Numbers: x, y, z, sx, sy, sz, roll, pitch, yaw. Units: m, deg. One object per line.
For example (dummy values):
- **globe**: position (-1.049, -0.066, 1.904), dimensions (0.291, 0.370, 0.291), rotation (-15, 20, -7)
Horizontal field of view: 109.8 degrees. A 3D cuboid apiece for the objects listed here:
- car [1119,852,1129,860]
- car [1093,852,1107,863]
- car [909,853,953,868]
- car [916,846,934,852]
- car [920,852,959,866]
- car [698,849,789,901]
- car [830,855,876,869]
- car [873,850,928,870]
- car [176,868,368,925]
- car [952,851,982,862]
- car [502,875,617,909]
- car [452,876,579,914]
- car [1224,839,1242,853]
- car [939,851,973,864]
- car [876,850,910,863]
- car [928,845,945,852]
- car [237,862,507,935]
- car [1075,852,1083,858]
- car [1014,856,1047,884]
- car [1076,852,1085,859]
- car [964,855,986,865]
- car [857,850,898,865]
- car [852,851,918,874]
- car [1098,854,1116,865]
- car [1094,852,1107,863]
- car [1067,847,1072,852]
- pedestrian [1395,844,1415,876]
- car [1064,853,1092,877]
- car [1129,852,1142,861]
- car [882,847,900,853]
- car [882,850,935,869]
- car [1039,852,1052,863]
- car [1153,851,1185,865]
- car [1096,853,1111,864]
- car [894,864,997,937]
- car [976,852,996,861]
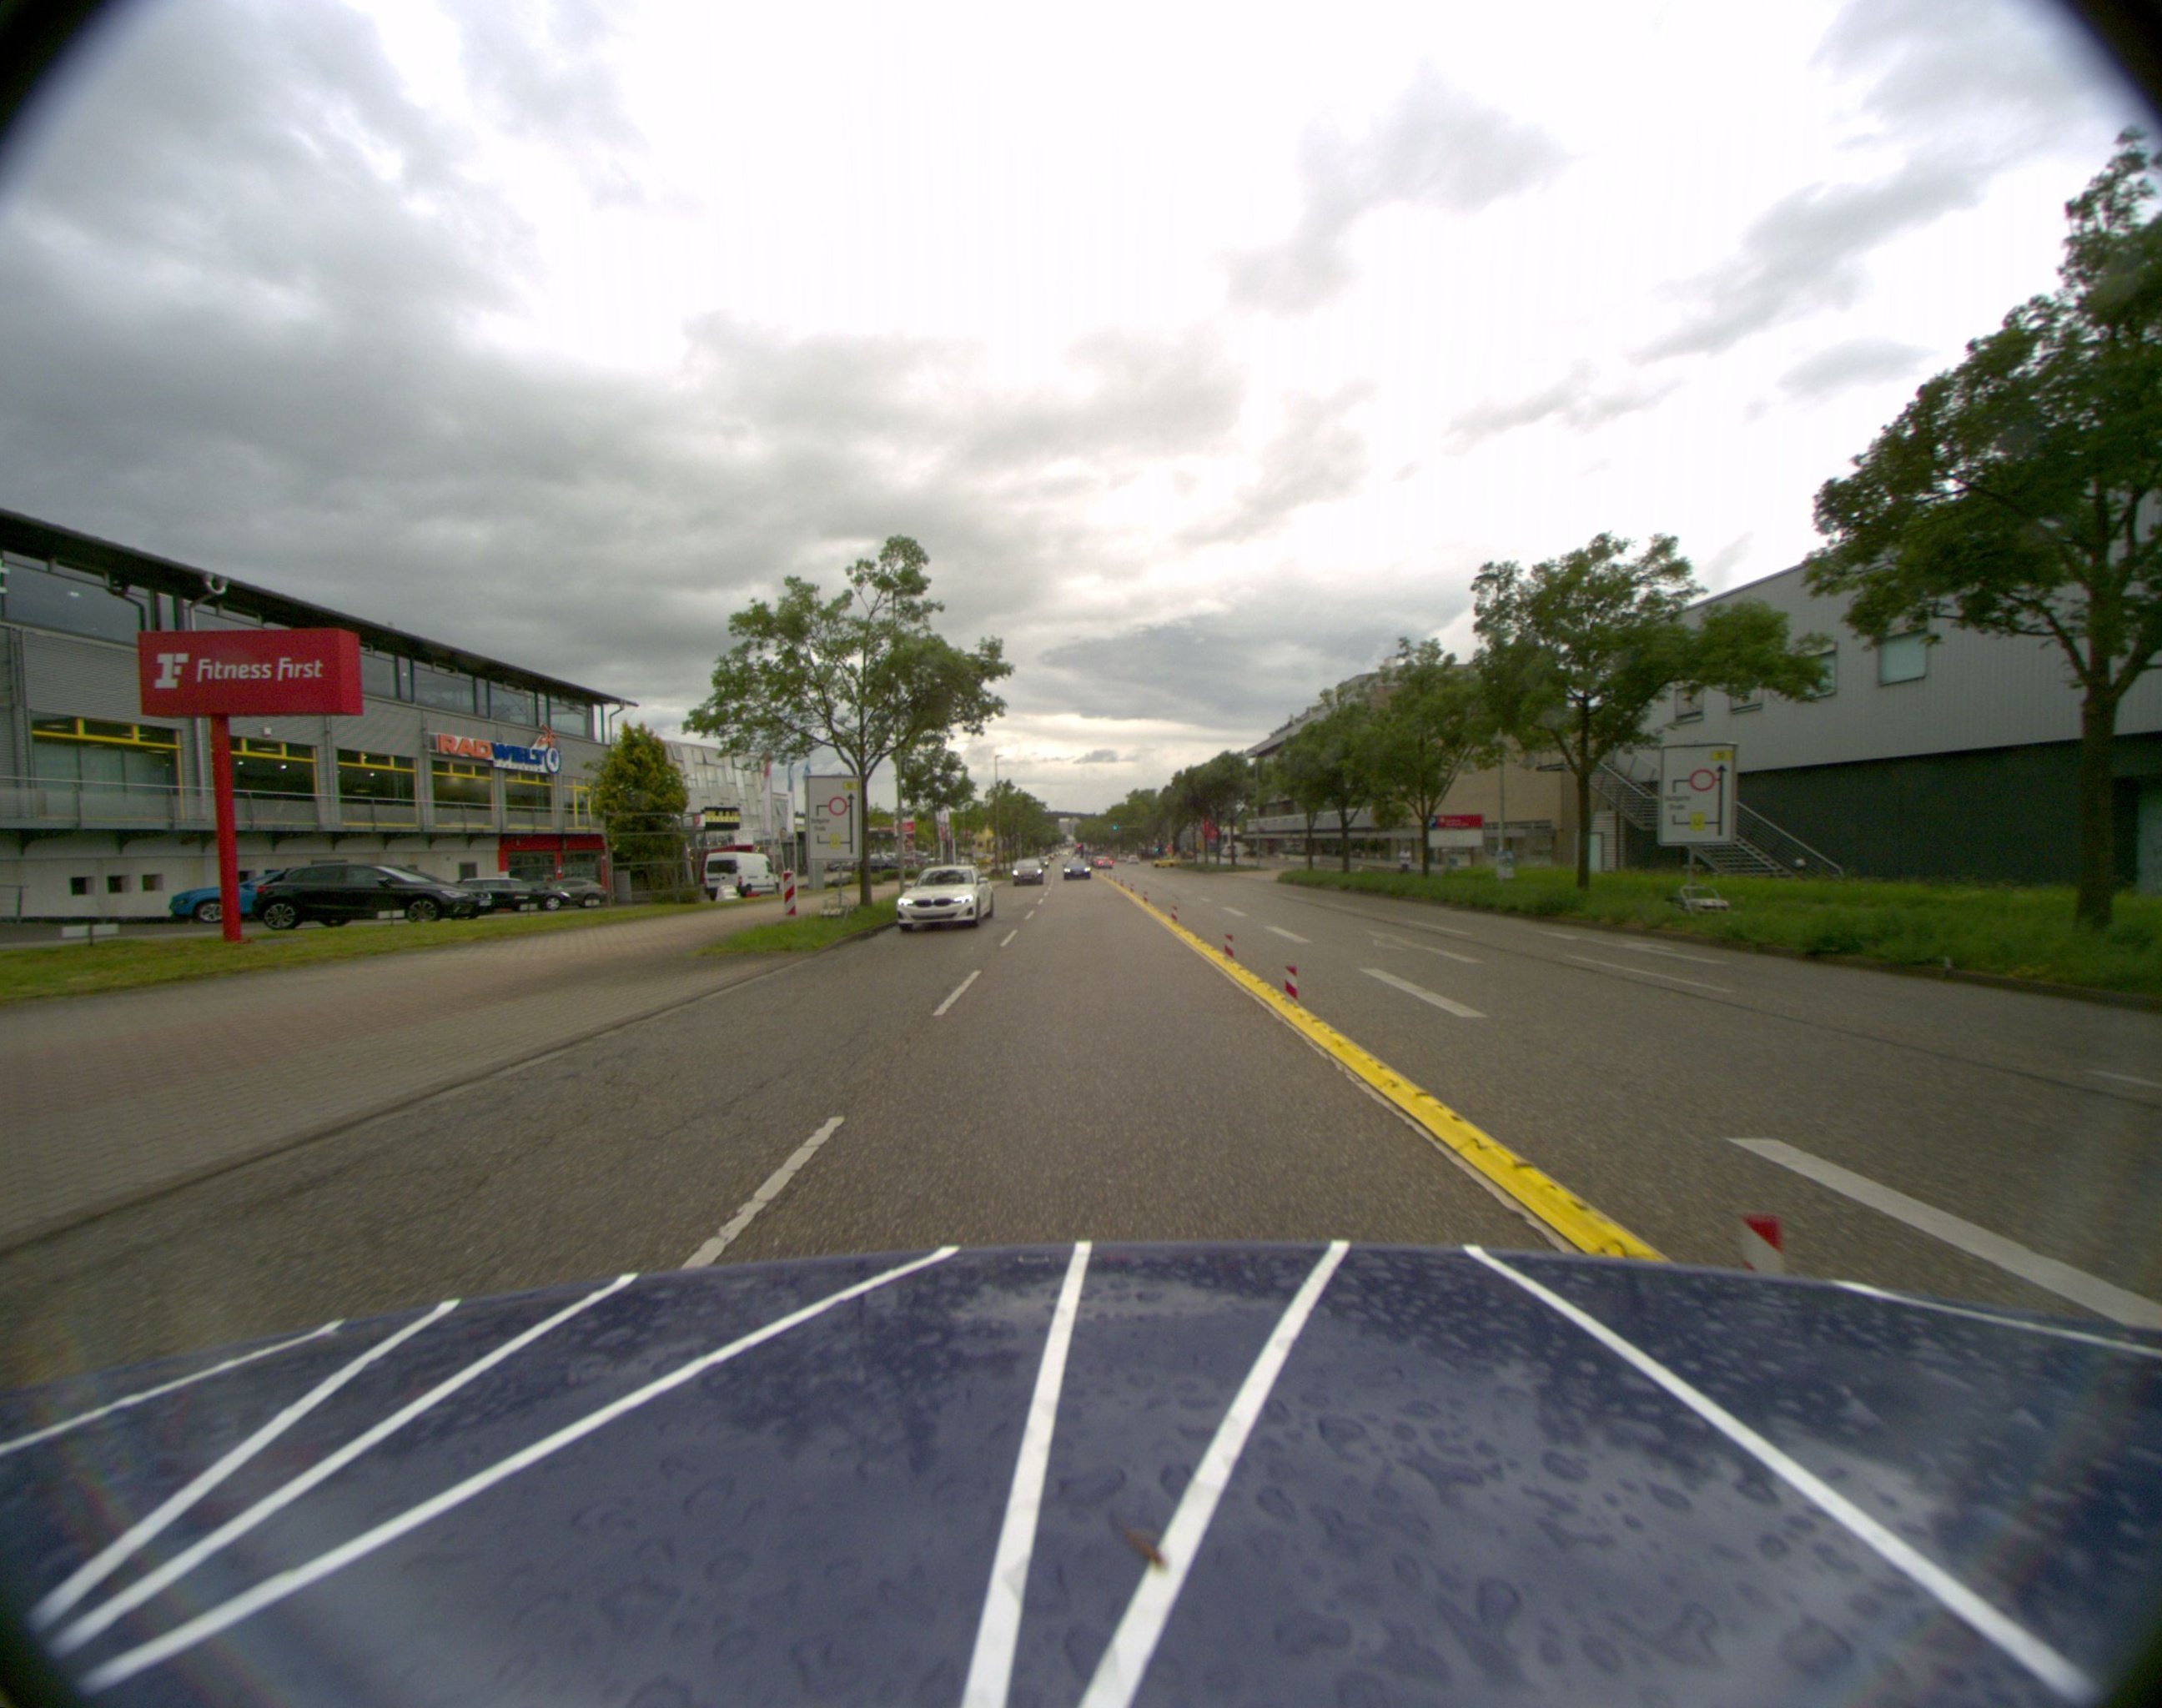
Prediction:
- **car**: position (8.684, 0.462, 153.648), dimensions (1.745, 1.544, 4.781), rotation (0, 0, 0)
- **car**: position (2.684, 0.513, 106.832), dimensions (1.754, 1.516, 3.999), rotation (0, 0, -2)
- **car**: position (-15.523, 0.641, 78.585), dimensions (4.180, 1.464, 1.862), rotation (2, 0, -1)
- **car**: position (-37.054, -1.202, 180.376), dimensions (3.997, 1.501, 1.800), rotation (-1, 0, -1)
- **car**: position (-16.630, 0.607, 89.464), dimensions (4.191, 1.464, 1.785), rotation (1, 1, -37)
- **car**: position (-18.142, 1.142, 41.239), dimensions (2.232, 2.521, 5.682), rotation (-3, -2, 1)
- **car**: position (-25.100, 0.861, 83.626), dimensions (4.508, 1.388, 1.794), rotation (1, 2, -43)
- **car**: position (-15.280, 0.499, 64.564), dimensions (4.178, 1.591, 1.828), rotation (2, 1, 2)
- **car**: position (-24.732, 1.266, 23.451), dimensions (3.919, 1.549, 1.735), rotation (0, -2, -42)
- **car**: position (-17.235, 0.344, 115.009), dimensions (1.738, 1.570, 4.324), rotation (2, 1, 43)
- **car**: position (-24.995, 1.786, 36.492), dimensions (1.779, 1.461, 4.269), rotation (-3, -2, 44)
- **car**: position (-24.667, 1.750, 33.257), dimensions (4.269, 1.461, 1.735), rotation (0, -2, -44)
- **car**: position (23.690, -1.268, 118.448), dimensions (1.998, 2.002, 4.886), rotation (-4, 1, 4)
- **car**: position (-16.864, 0.479, 102.933), dimensions (4.186, 1.570, 1.738), rotation (1, 1, -40)
- **car**: position (-25.737, 0.355, 103.826), dimensions (4.125, 1.736, 1.794), rotation (1, 2, -45)
- **car**: position (-36.843, -1.405, 193.604), dimensions (3.997, 1.501, 1.800), rotation (-1, 0, -1)
- **car**: position (-15.786, 0.964, 17.170), dimensions (4.105, 1.429, 1.795), rotation (-1, -2, -13)
- **car**: position (-0.517, 0.235, 174.430), dimensions (1.754, 1.501, 3.999), rotation (0, 0, -2)
- **car**: position (-3.080, 0.953, 46.980), dimensions (1.799, 1.572, 4.217), rotation (-3, 0, -2)
- **car**: position (-0.139, 0.292, 161.589), dimensions (1.754, 1.501, 3.999), rotation (0, 0, -2)
- **car**: position (-17.041, 0.962, 122.109), dimensions (1.747, 1.570, 3.864), rotation (0, -1, -41)
- **car**: position (-25.158, 0.426, 94.022), dimensions (4.508, 1.672, 1.794), rotation (1, 2, -39)
- **car**: position (-15.542, 0.659, 60.257), dimensions (4.663, 1.591, 1.928), rotation (2, 0, 9)
- **car**: position (3.168, 0.654, 92.962), dimensions (1.788, 1.398, 4.615), rotation (0, 0, -2)
- **car**: position (2.962, 0.511, 115.819), dimensions (1.754, 1.501, 3.999), rotation (0, 0, -2)
- **car**: position (-3.872, -1.545, 255.020), dimensions (1.754, 1.501, 4.000), rotation (0, 0, 0)
- **pedestrian**: position (16.334, 0.276, 38.336), dimensions (0.586, 1.574, 0.767), rotation (-3, 1, 1)
- **car**: position (-0.204, 0.729, 54.148), dimensions (1.799, 1.572, 4.218), rotation (-3, 0, 0)
- **car**: position (9.155, 0.467, 128.277), dimensions (1.745, 1.398, 4.468), rotation (0, 1, 0)
- **car**: position (-48.884, -0.949, 195.500), dimensions (4.221, 1.572, 1.823), rotation (-1, 0, -1)
- **car**: position (-15.245, 0.483, 67.130), dimensions (4.178, 1.591, 1.800), rotation (2, 1, 2)
- **car**: position (-4.995, 0.513, 106.449), dimensions (1.754, 1.501, 3.999), rotation (0, 0, -2)
- **car**: position (11.515, 0.488, 99.109), dimensions (3.702, 1.500, 1.624), rotation (-4, 2, 36)
- **car**: position (2.918, 0.610, 99.408), dimensions (1.745, 1.398, 3.999), rotation (0, 0, -2)
- **car**: position (-3.216, 1.042, 18.906), dimensions (1.808, 1.432, 4.541), rotation (-3, 0, -2)
- **car**: position (-19.860, 0.474, 158.891), dimensions (4.001, 1.802, 1.766), rotation (-1, 0, -13)
